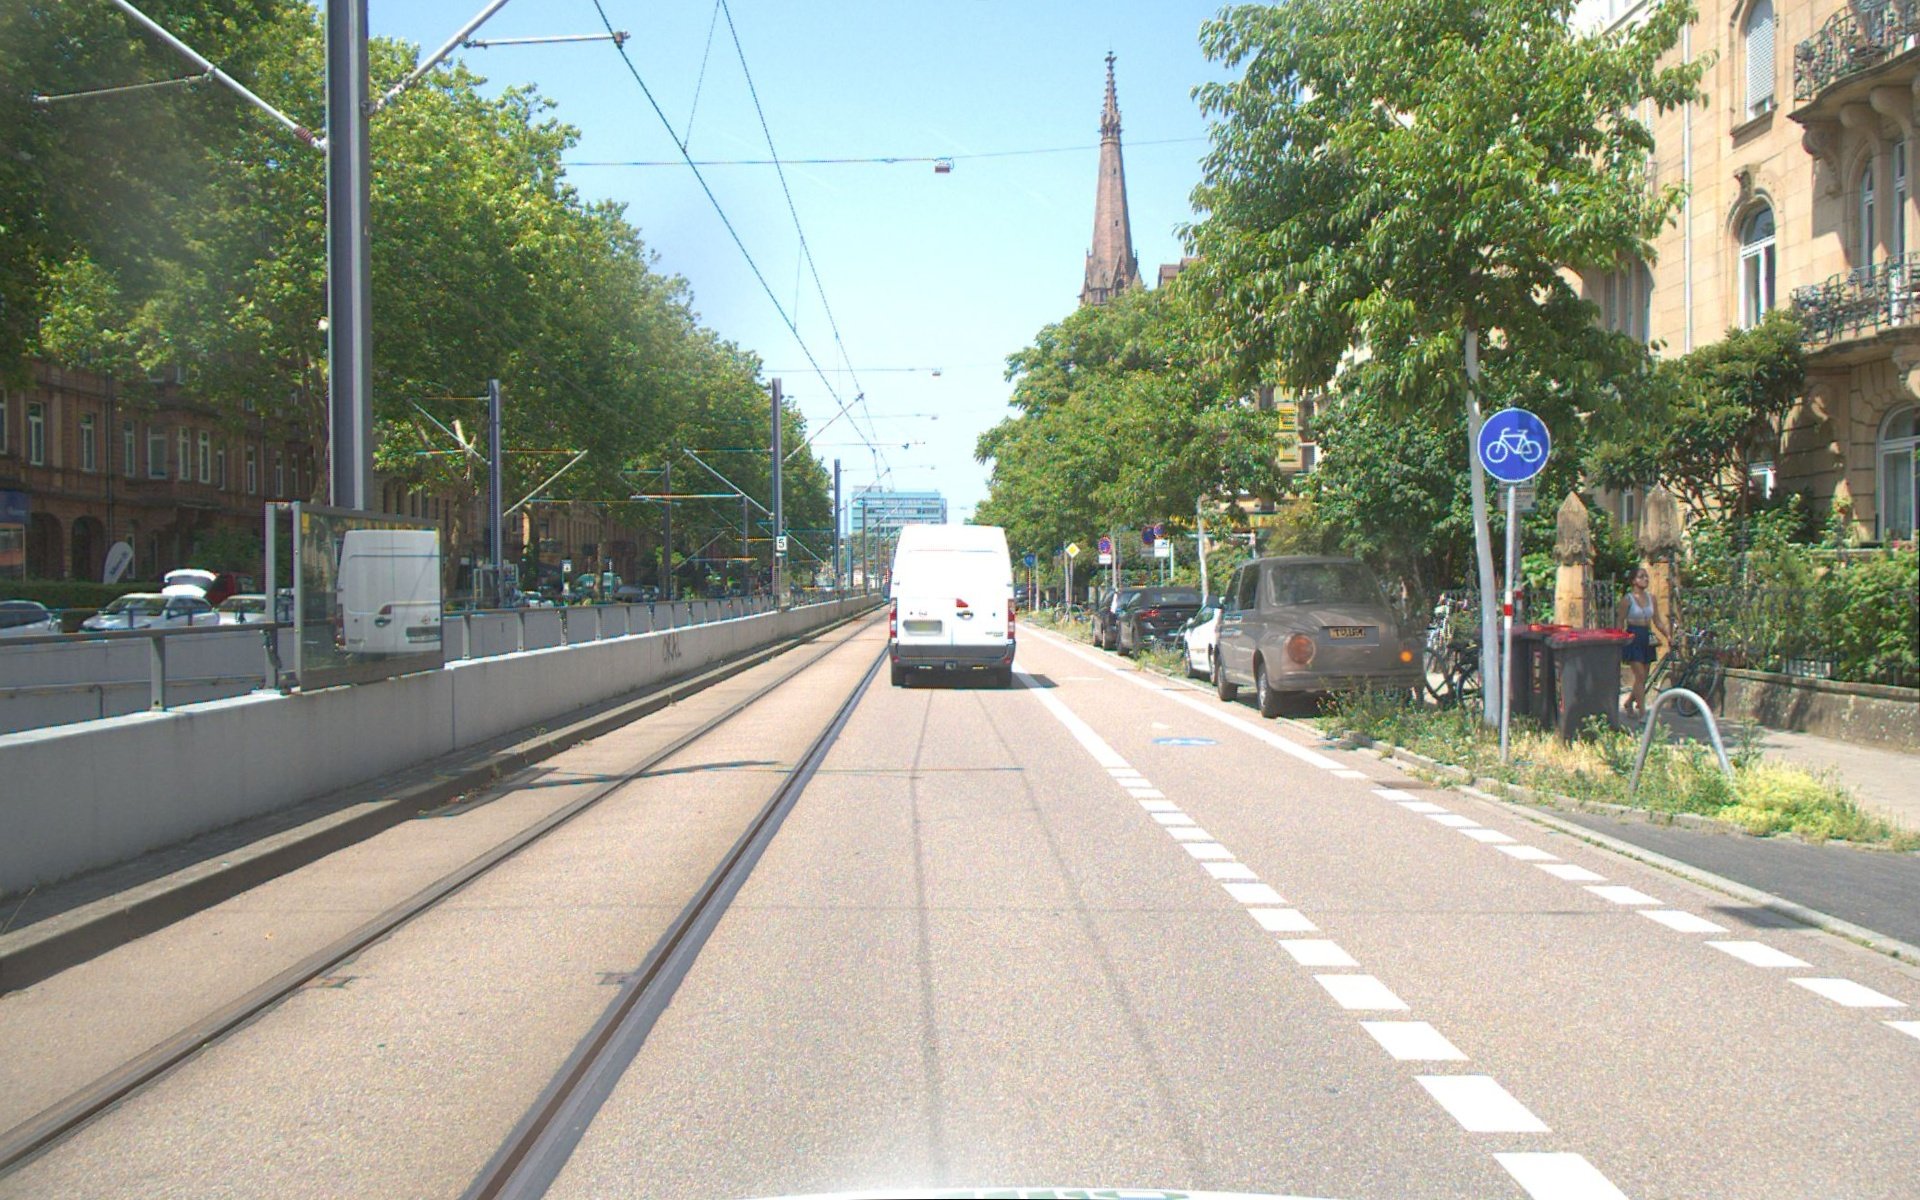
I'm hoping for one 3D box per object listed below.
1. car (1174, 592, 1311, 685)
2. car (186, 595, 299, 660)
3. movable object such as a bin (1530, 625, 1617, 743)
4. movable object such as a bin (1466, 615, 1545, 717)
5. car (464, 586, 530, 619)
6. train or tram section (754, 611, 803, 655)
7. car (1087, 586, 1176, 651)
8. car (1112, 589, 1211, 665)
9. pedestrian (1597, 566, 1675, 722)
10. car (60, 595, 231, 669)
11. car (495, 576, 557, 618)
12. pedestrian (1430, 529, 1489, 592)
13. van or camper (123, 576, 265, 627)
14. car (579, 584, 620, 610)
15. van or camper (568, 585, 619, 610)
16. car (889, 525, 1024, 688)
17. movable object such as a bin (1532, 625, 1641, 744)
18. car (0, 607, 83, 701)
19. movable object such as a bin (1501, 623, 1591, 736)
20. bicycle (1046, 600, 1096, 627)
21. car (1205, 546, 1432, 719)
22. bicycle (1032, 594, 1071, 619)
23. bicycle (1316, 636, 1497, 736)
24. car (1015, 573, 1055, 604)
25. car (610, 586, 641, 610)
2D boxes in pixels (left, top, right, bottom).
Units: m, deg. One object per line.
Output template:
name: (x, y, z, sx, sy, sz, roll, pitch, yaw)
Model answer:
car: (4.736, 0.600, 28.192, 1.578, 1.430, 3.999, -1, 1, -1)
car: (-19.925, 0.741, 46.077, 1.620, 1.714, 3.706, 0, 0, -2)
movable object such as a bin: (5.785, 0.783, 15.607, 0.655, 1.080, 0.496, -1, 0, 5)
movable object such as a bin: (5.673, 0.674, 17.201, 0.585, 1.028, 0.564, 0, 0, -11)
car: (-20.343, 0.077, 72.820, 1.814, 1.425, 4.196, 0, 0, -2)
train or tram section: (-11.566, 2.058, 106.220, 2.675, 2.552, 8.511, 0, 1, -3)
car: (4.300, 0.419, 41.941, 1.694, 1.562, 4.403, 0, 0, -2)
car: (4.390, 0.542, 36.562, 1.633, 1.557, 4.012, -1, 1, -1)
pedestrian: (7.193, 0.455, 17.615, 0.540, 1.626, 0.728, 0, 0, 1)
car: (-19.745, 0.723, 40.340, 1.953, 1.653, 4.716, 0, 0, -2)
car: (-20.354, -0.159, 77.697, 1.953, 1.937, 4.147, 0, 0, -2)
pedestrian: (8.805, -0.689, 29.168, 0.847, 1.088, 0.762, 0, 0, 3)
van or camper: (-28.677, 0.034, 61.981, 4.448, 1.869, 1.933, 0, 0, 5)
car: (-20.930, -0.176, 96.112, 1.560, 1.473, 4.000, 0, 0, -1)
van or camper: (-30.753, -0.187, 138.997, 3.908, 2.049, 1.999, 0, 0, -4)
car: (-0.148, 0.076, 27.962, 2.074, 2.502, 5.052, 0, 0, -2)
movable object such as a bin: (5.639, 0.747, 14.913, 0.771, 1.031, 0.650, -1, 0, 5)
car: (-17.362, 0.950, 29.046, 1.511, 1.589, 3.881, 0, 0, 7)
movable object such as a bin: (5.742, 0.771, 16.223, 0.730, 1.080, 0.496, 0, 0, 5)
bicycle: (4.100, 0.483, 61.228, 1.804, 0.970, 0.503, -1, 0, 0)
car: (4.569, 0.354, 21.841, 1.841, 1.981, 4.835, -2, 1, -1)
bicycle: (4.467, 0.326, 81.126, 1.850, 1.202, 0.640, 0, 0, -3)
bicycle: (4.758, 0.904, 17.644, 1.847, 1.009, 0.469, -1, 0, -11)
car: (4.117, -0.637, 91.270, 2.112, 1.699, 4.001, 0, 0, 1)
car: (-21.042, -0.134, 104.192, 1.345, 1.448, 3.088, -1, 0, 0)
